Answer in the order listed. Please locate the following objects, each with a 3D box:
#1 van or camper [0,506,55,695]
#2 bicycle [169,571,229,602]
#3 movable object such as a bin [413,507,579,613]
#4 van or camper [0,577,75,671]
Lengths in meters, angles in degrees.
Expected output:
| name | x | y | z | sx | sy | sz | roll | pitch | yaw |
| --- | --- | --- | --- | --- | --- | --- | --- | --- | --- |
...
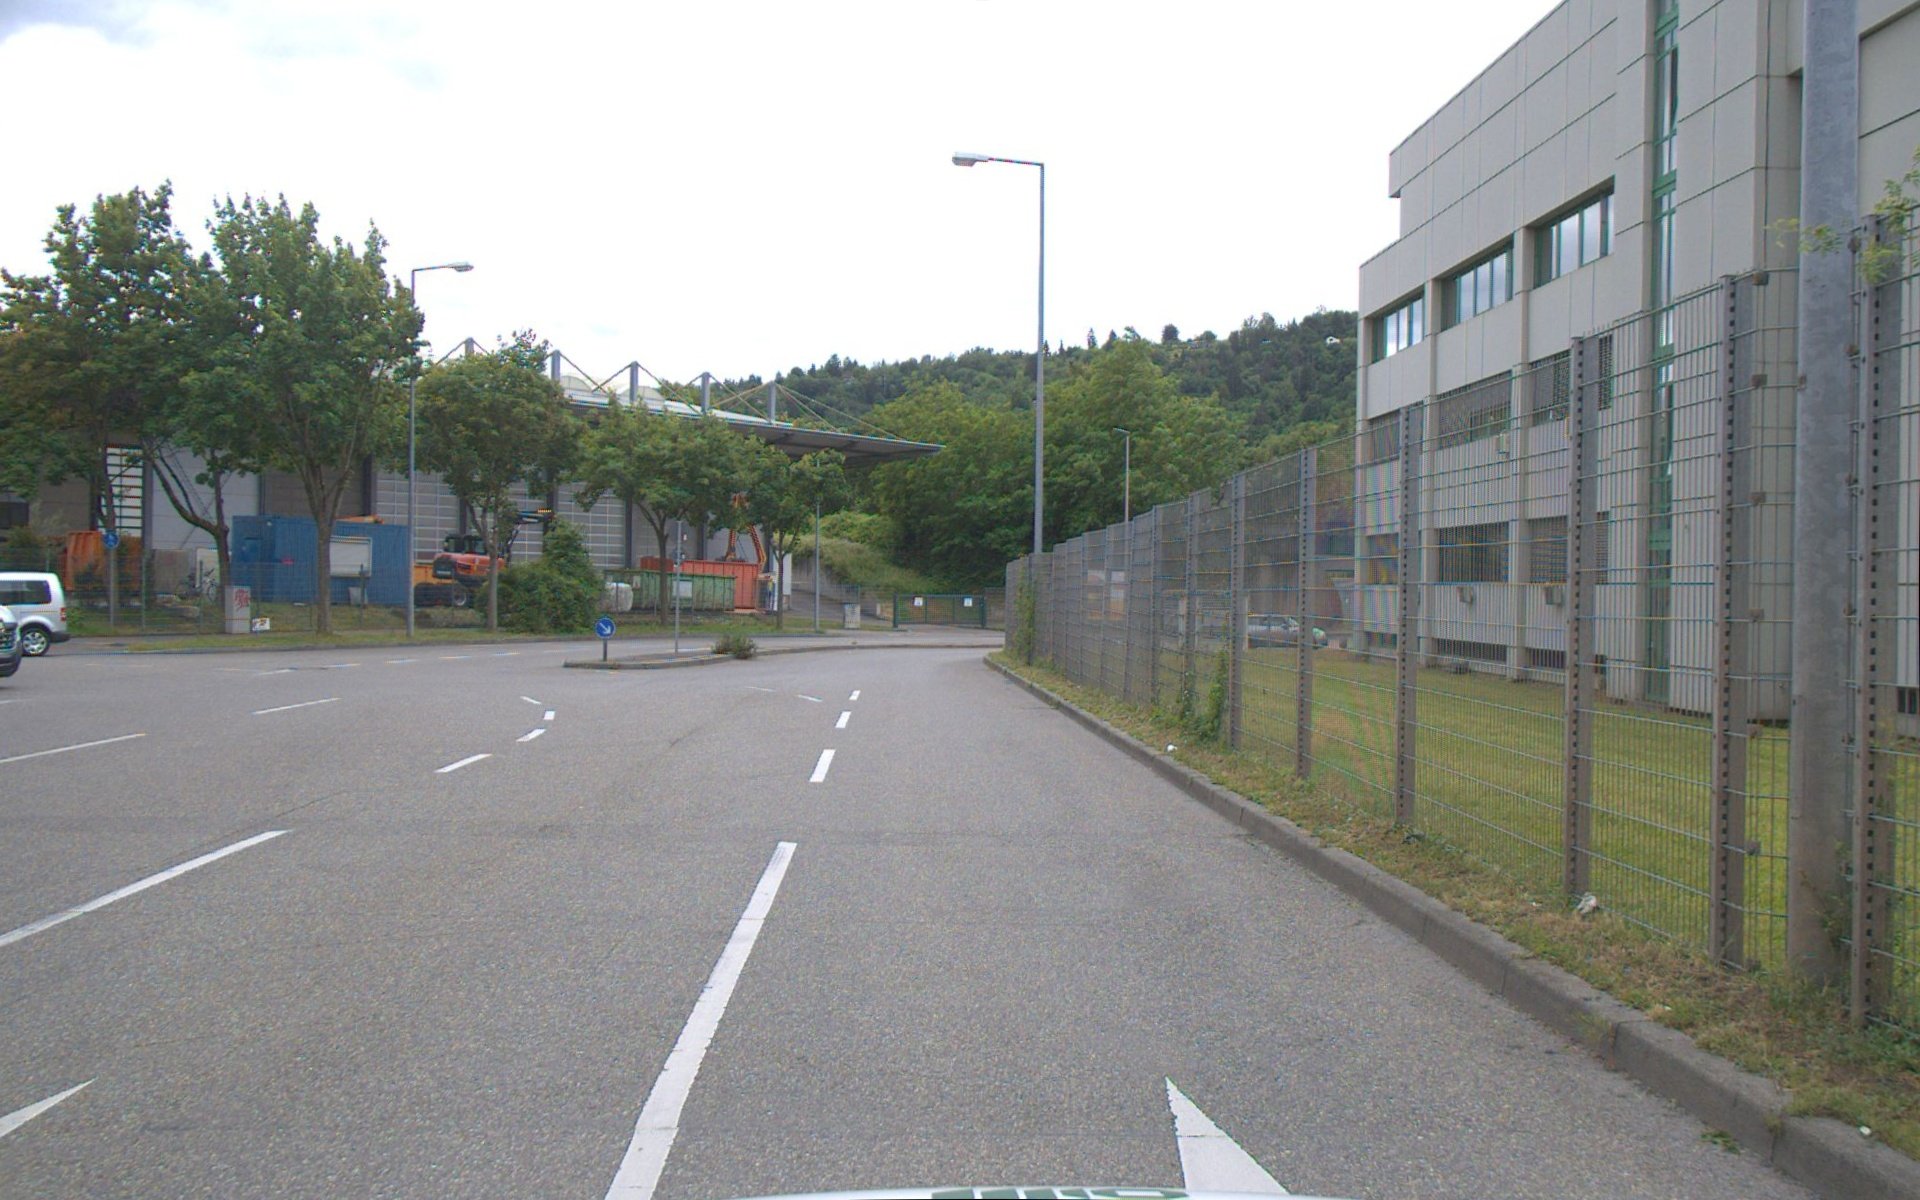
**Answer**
| name | x | y | z | sx | sy | sz | roll | pitch | yaw |
| --- | --- | --- | --- | --- | --- | --- | --- | --- | --- |
| van or camper | -16.172 | -0.086 | 22.825 | 5.967 | 2.601 | 2.271 | 2 | 1 | -3 |
| bicycle | -25.377 | -0.442 | 55.175 | 0.649 | 0.991 | 1.757 | 0 | 0 | 31 |
| movable object such as a bin | -18.998 | -1.576 | 68.161 | 2.675 | 4.162 | 6.537 | 0 | 0 | 31 |
| van or camper | -21.887 | 0.500 | 36.187 | 4.227 | 1.997 | 1.934 | 1 | 1 | -35 |
